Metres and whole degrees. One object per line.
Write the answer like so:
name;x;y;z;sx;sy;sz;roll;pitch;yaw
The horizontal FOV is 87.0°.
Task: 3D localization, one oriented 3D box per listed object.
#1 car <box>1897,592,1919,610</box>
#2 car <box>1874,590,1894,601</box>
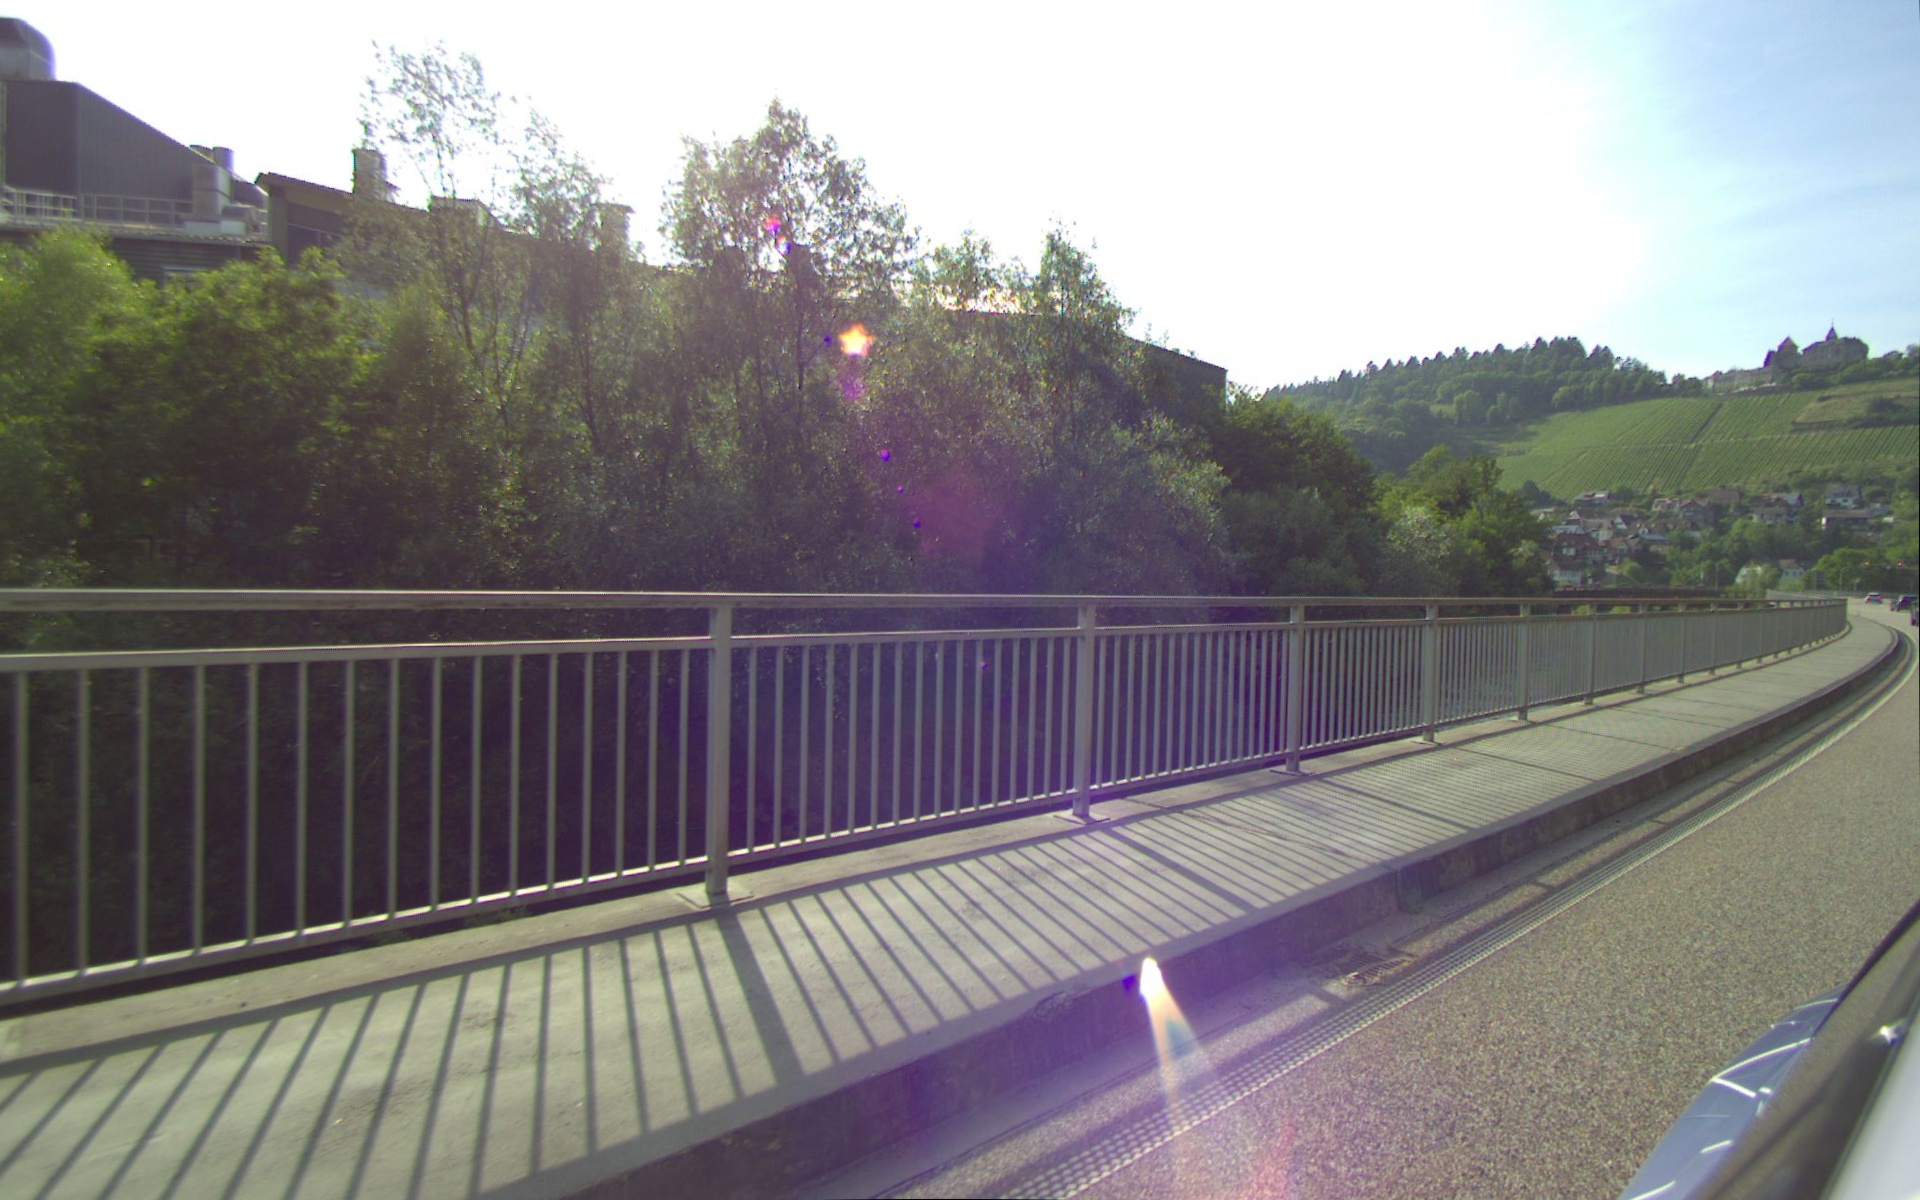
car;82.732;0.083;87.866;1.846;1.458;3.839;1;0;41
car;140.742;-0.662;154.175;1.843;1.563;4.542;2;1;37
